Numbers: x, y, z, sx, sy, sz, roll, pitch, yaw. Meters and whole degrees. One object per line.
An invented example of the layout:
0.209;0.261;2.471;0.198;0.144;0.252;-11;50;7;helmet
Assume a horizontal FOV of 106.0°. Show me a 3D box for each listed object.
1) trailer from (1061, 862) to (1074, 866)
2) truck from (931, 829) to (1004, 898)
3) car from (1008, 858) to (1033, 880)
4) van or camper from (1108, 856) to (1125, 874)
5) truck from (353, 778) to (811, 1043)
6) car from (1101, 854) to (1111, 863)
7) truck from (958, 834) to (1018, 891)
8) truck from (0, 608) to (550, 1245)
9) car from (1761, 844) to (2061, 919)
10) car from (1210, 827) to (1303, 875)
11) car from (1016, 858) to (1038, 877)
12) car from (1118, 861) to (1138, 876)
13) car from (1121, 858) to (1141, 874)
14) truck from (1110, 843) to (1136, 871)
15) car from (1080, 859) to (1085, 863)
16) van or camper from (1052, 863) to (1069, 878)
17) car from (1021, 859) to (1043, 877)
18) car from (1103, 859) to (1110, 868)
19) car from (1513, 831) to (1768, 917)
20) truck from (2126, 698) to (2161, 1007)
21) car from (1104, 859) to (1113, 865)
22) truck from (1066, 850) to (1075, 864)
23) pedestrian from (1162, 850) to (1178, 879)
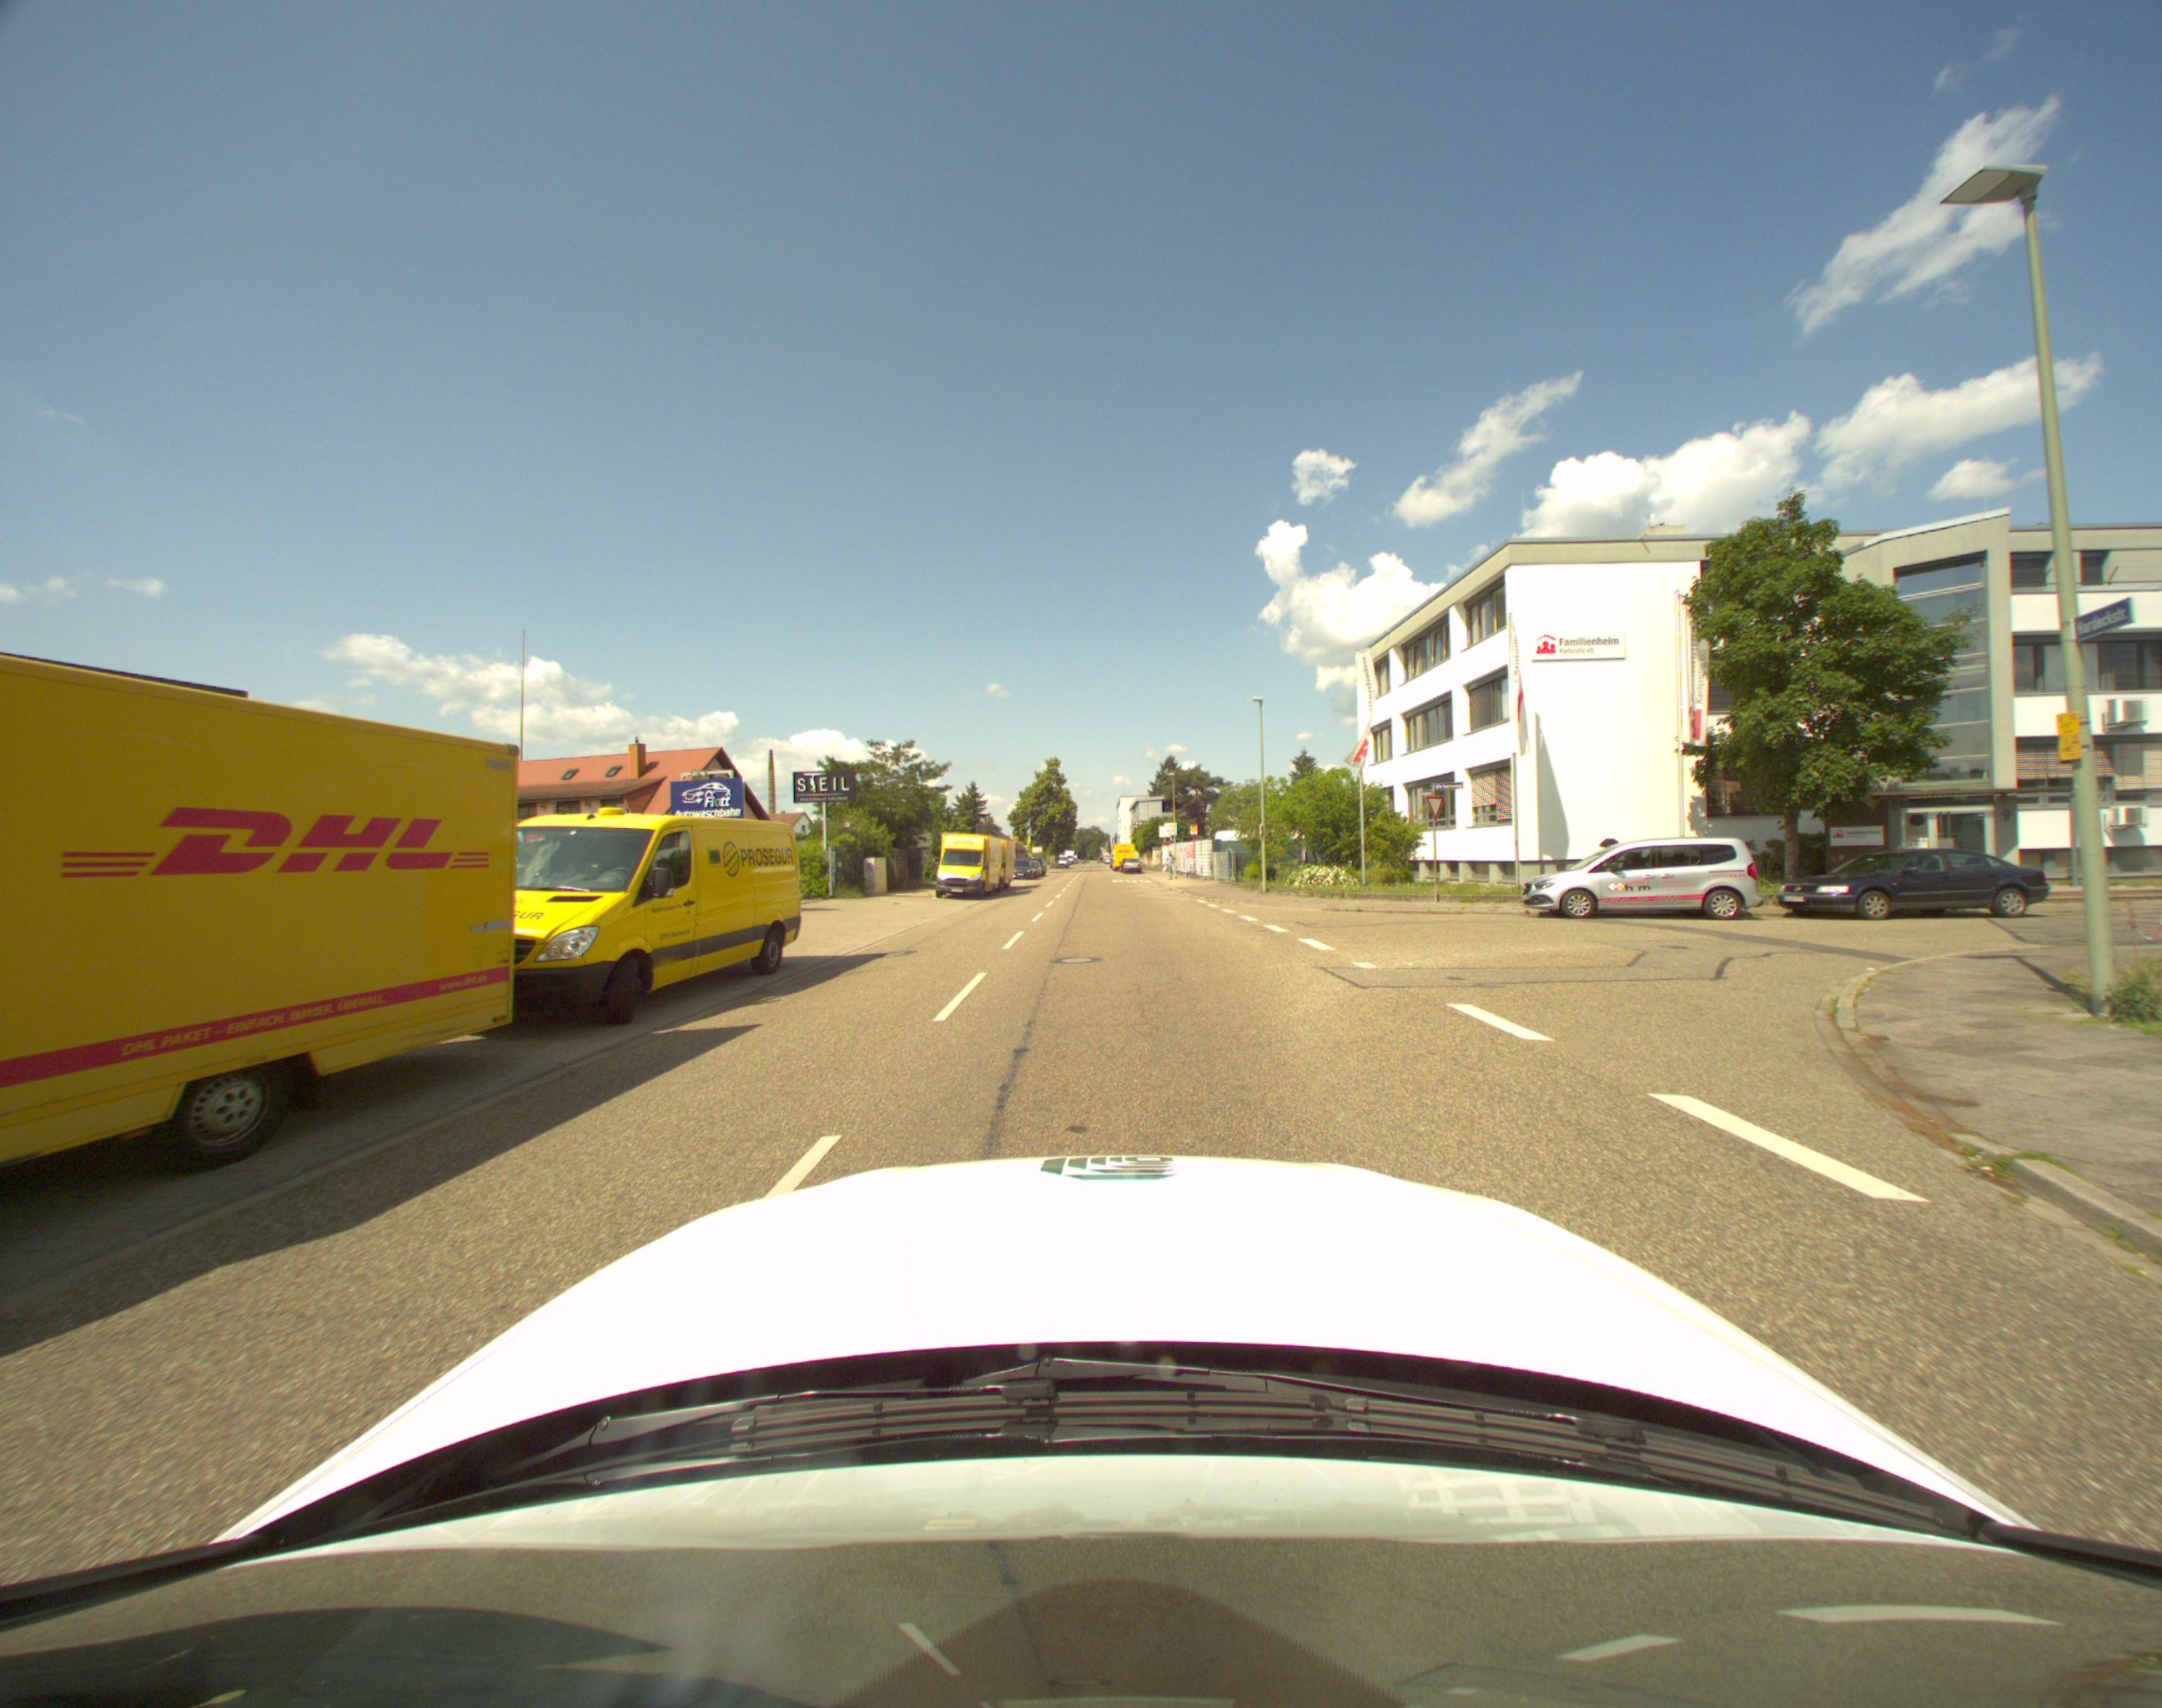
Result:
-2.926;2.137;177.590;2.408;0.813;5.538;1;0;1;trailer
-5.041;0.456;37.314;2.261;2.855;7.173;0;-1;0;truck
-4.756;1.144;64.481;1.719;1.604;4.412;2;-1;-1;car
4.666;1.404;107.693;1.986;2.291;5.448;0;-1;1;van or camper
-5.641;0.541;10.582;1.986;2.414;6.067;-1;0;2;truck
5.995;0.977;193.176;2.208;2.014;5.486;-2;0;1;car
-5.014;0.469;45.107;2.308;2.863;7.104;1;0;1;truck
-5.946;0.320;3.638;2.211;2.857;7.073;0;0;3;truck
17.451;0.558;17.283;4.598;1.427;1.759;-1;0;0;car
10.347;-0.164;48.233;4.902;2.652;2.068;-1;-1;-7;car
-4.605;1.135;70.041;1.622;1.448;4.026;3;-1;0;car
4.620;1.398;80.232;1.657;1.441;4.281;-1;-1;-1;car
4.604;1.059;75.458;1.646;1.387;4.423;0;0;1;car
4.433;0.338;87.245;2.466;2.940;7.186;0;-1;0;truck
0.477;2.134;256.065;1.649;1.324;4.417;-2;0;1;car
-3.686;2.917;146.437;2.164;2.413;7.705;-1;0;4;van or camper
-4.526;1.256;75.516;1.727;1.518;4.742;1;0;0;car
6.436;2.365;204.308;1.702;2.090;4.000;-1;0;0;car
12.407;0.503;18.433;4.359;1.753;1.873;-2;-3;19;car
12.219;-0.137;7.059;6.069;2.577;2.545;-2;0;-25;truck
6.081;1.762;179.858;1.921;1.310;4.000;-2;0;1;car
-2.435;0.666;191.869;2.022;3.154;6.500;-2;0;1;truck
5.447;0.630;49.988;0.714;1.697;0.522;-7;-1;-4;pedestrian
